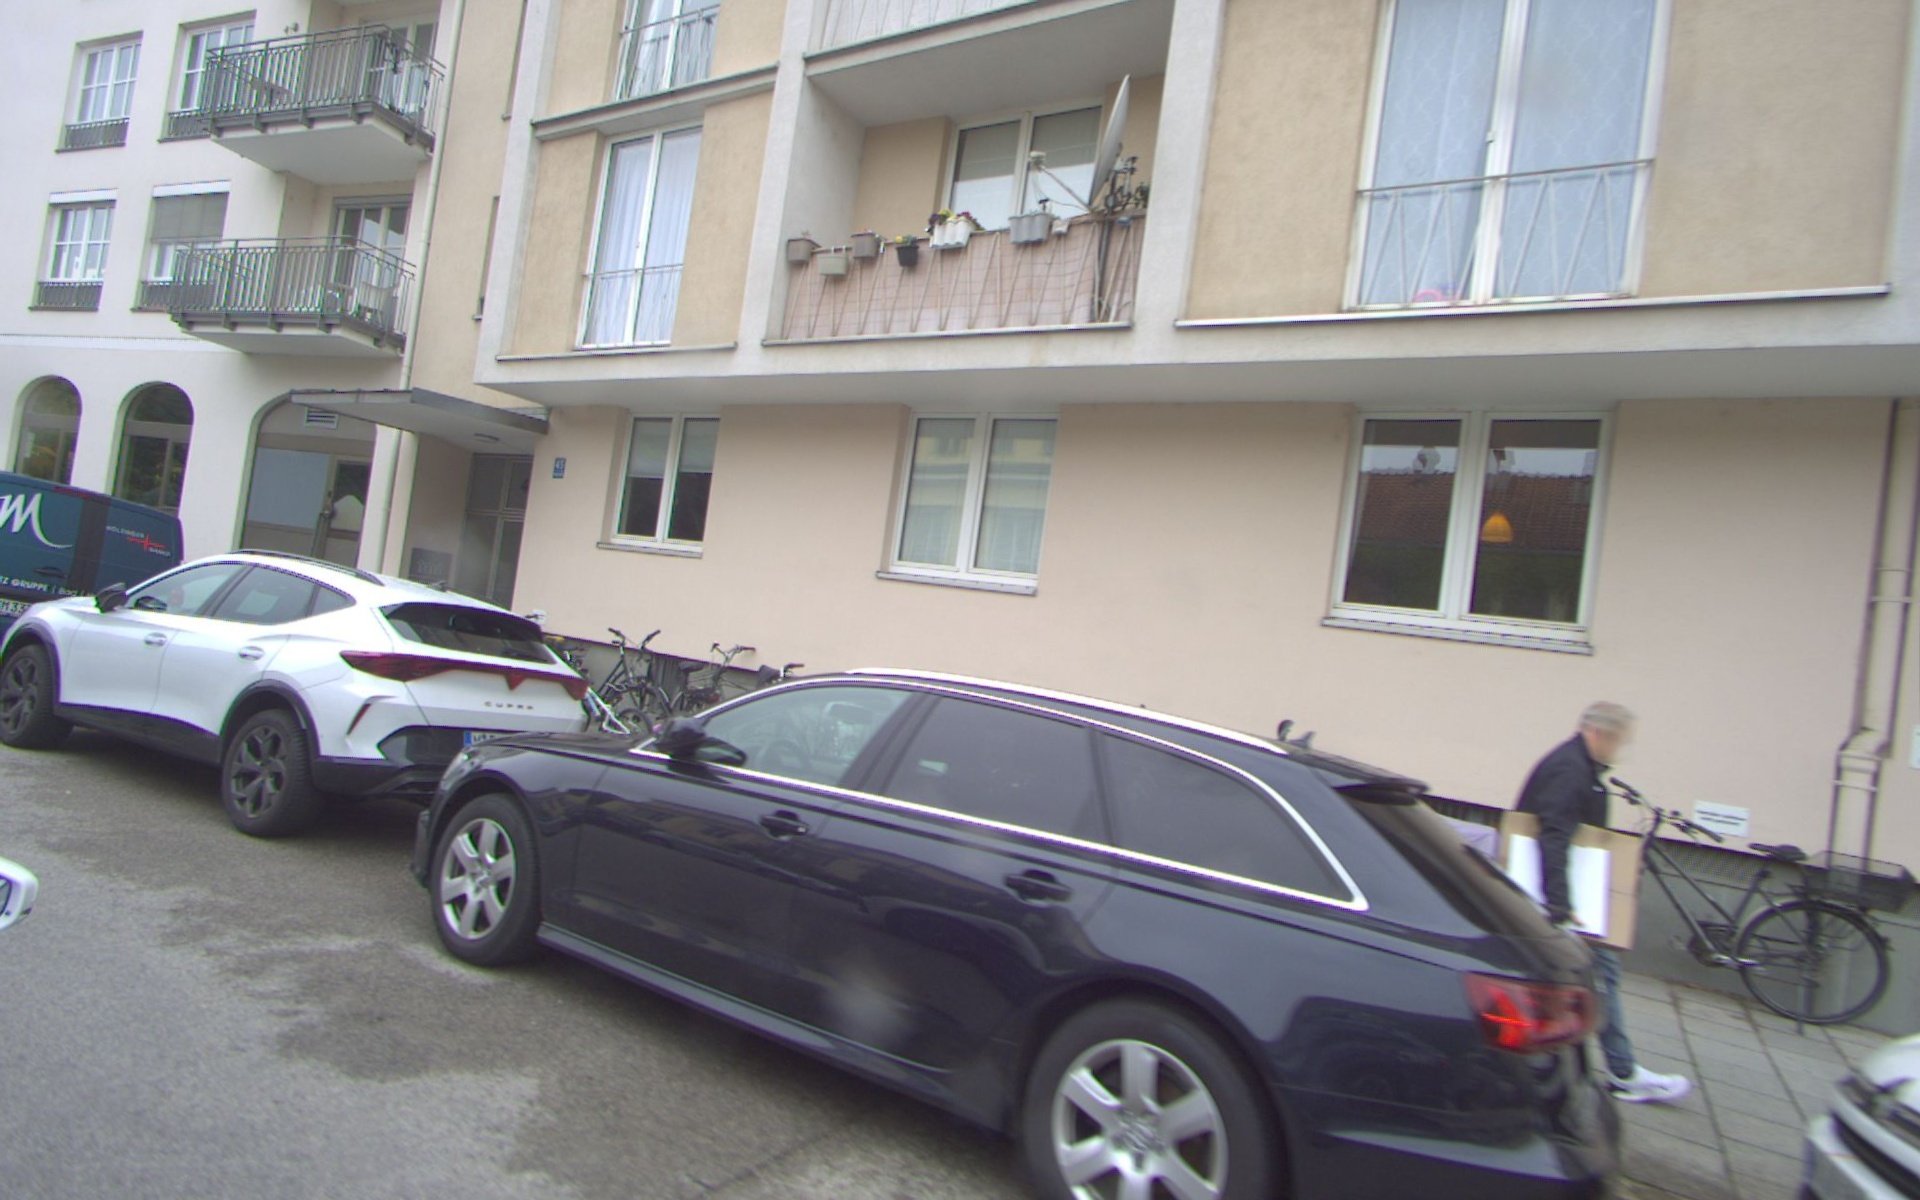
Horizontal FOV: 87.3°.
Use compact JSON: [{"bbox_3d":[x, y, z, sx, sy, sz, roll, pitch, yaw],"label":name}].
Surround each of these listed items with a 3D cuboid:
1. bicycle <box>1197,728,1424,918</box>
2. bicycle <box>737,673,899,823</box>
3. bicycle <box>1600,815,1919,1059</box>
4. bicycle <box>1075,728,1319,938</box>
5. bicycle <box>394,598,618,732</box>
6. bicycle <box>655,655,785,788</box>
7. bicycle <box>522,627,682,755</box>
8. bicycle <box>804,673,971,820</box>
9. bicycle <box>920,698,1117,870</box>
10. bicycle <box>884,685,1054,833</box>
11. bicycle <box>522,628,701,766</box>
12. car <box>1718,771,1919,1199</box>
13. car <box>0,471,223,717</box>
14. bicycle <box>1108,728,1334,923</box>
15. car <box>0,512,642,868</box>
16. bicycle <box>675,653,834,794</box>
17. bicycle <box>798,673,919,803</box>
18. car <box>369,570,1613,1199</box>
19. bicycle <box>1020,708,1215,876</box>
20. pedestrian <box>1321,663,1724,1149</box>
[{"bbox_3d":[2.481,1.544,7.184,1.378,1.036,0.390,6,0,31],"label":"bicycle"},{"bbox_3d":[-1.221,1.227,8.566,1.280,1.036,0.423,6,0,31],"label":"bicycle"},{"bbox_3d":[4.552,1.866,5.772,1.378,0.947,0.445,6,0,31],"label":"bicycle"},{"bbox_3d":[1.541,1.474,6.620,1.378,1.036,0.484,6,0,31],"label":"bicycle"},{"bbox_3d":[-5.185,0.737,11.485,2.169,1.200,1.149,6,-2,29],"label":"bicycle"},{"bbox_3d":[-2.235,1.099,9.310,1.180,1.036,0.423,6,0,38],"label":"bicycle"},{"bbox_3d":[-3.784,0.953,10.705,1.384,1.146,0.534,8,-1,-5],"label":"bicycle"},{"bbox_3d":[-0.649,1.240,8.754,1.378,1.036,0.390,6,0,31],"label":"bicycle"},{"bbox_3d":[0.428,1.365,7.700,1.378,1.036,0.390,6,0,31],"label":"bicycle"},{"bbox_3d":[0.064,1.350,8.790,1.378,1.036,0.390,6,0,31],"label":"bicycle"},{"bbox_3d":[-3.411,0.943,9.958,1.405,1.146,0.719,8,-2,-5],"label":"bicycle"},{"bbox_3d":[3.912,1.390,1.489,4.147,1.514,1.746,6,-5,30],"label":"car"},{"bbox_3d":[-9.567,-0.241,9.546,4.850,1.833,1.974,6,-6,28],"label":"car"},{"bbox_3d":[1.809,1.530,7.051,1.378,1.036,0.390,6,0,31],"label":"bicycle"},{"bbox_3d":[-4.481,0.512,6.786,4.197,1.552,1.749,6,-6,26],"label":"car"},{"bbox_3d":[-2.032,1.191,9.926,1.384,1.146,0.534,7,-1,28],"label":"bicycle"},{"bbox_3d":[-0.955,1.268,9.412,0.985,1.036,0.374,6,0,31],"label":"bicycle"},{"bbox_3d":[-0.161,0.951,3.993,4.421,1.514,1.745,6,-5,32],"label":"car"},{"bbox_3d":[1.231,1.478,7.975,1.378,1.036,0.390,6,0,31],"label":"bicycle"},{"bbox_3d":[2.492,1.234,4.570,1.297,1.707,0.900,6,-1,30],"label":"pedestrian"}]
